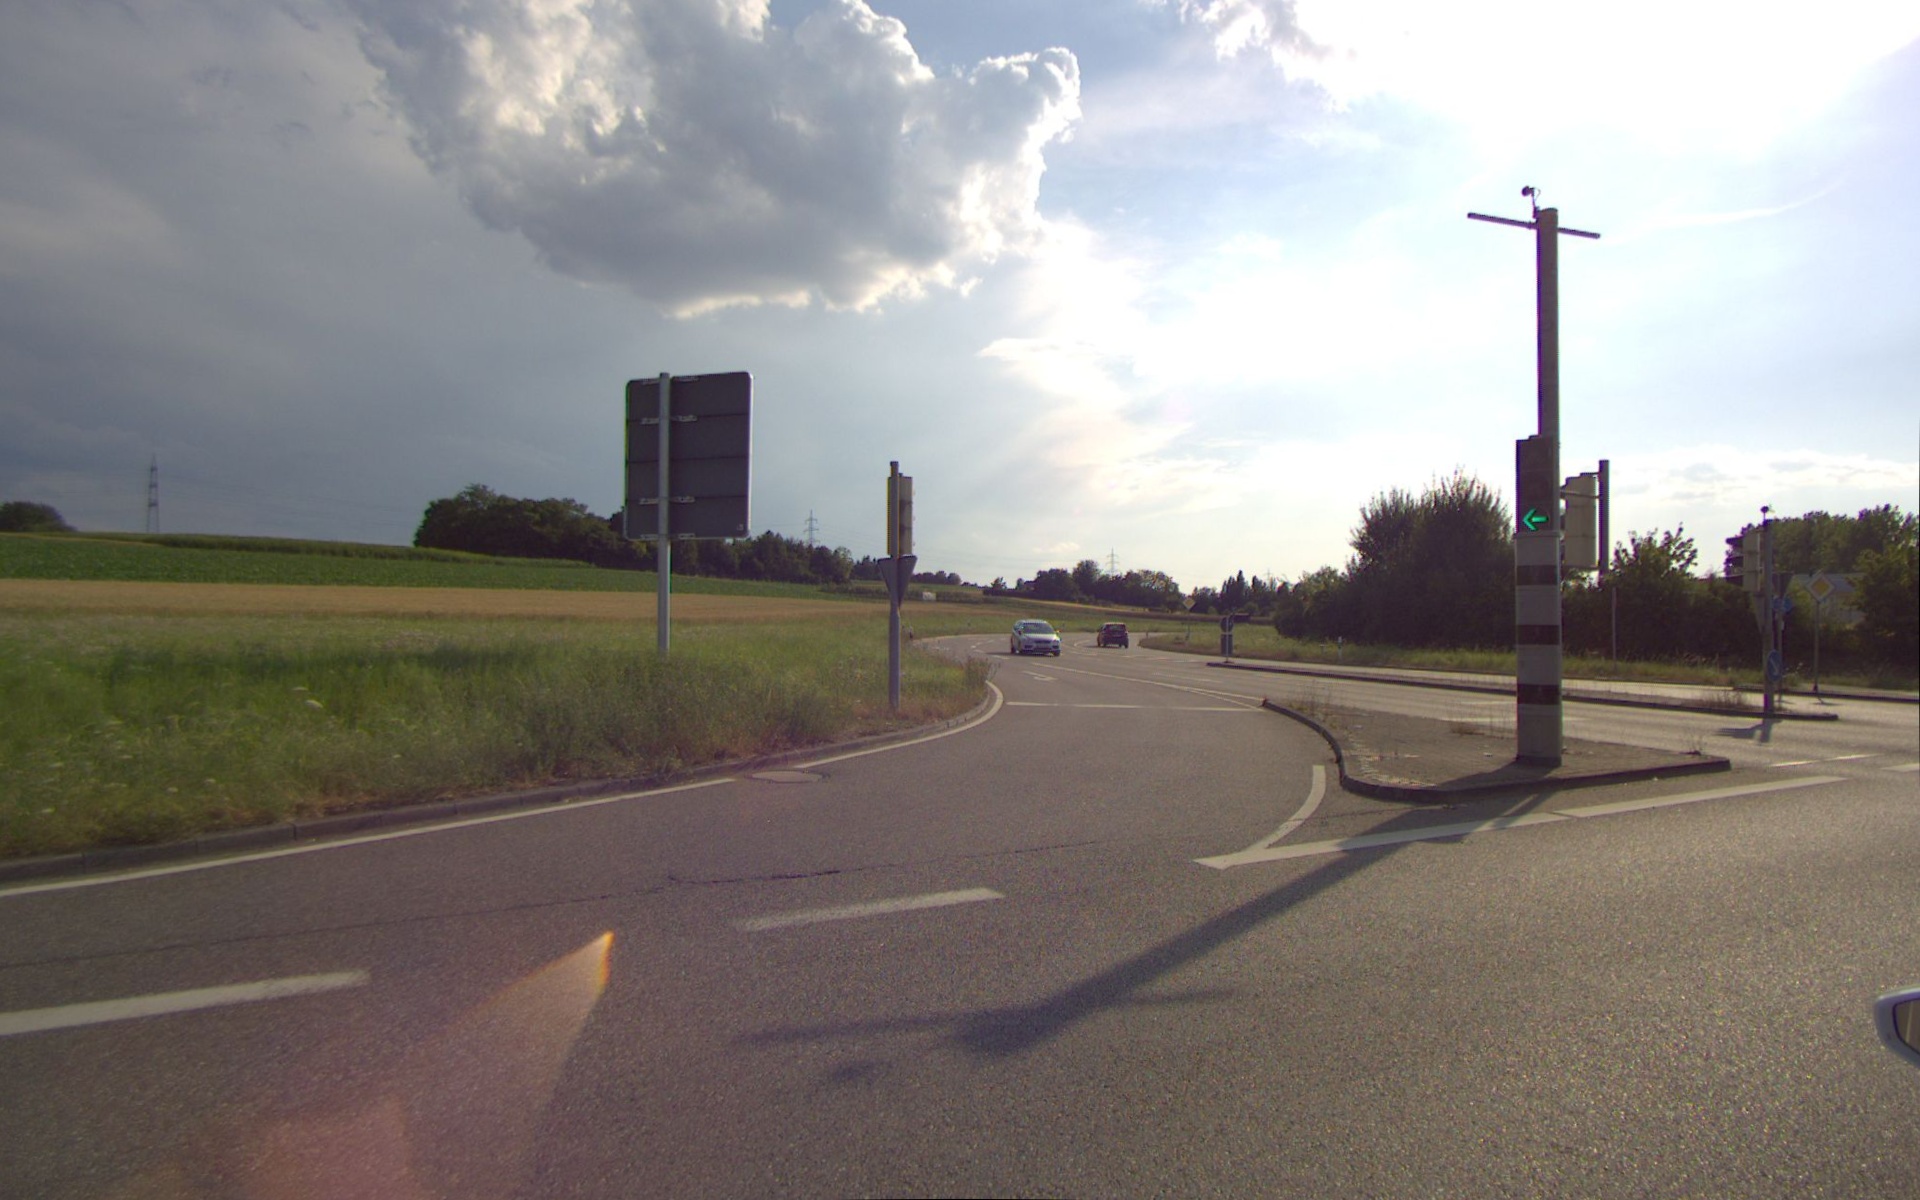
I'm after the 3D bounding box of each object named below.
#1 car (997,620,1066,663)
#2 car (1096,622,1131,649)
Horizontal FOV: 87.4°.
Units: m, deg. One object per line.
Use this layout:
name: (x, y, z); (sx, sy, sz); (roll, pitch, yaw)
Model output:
car: (3.102, 1.781, 44.314); (1.789, 1.549, 4.341); (2, 1, -13)
car: (9.519, 2.169, 62.597); (1.693, 1.520, 3.858); (2, -1, 3)
